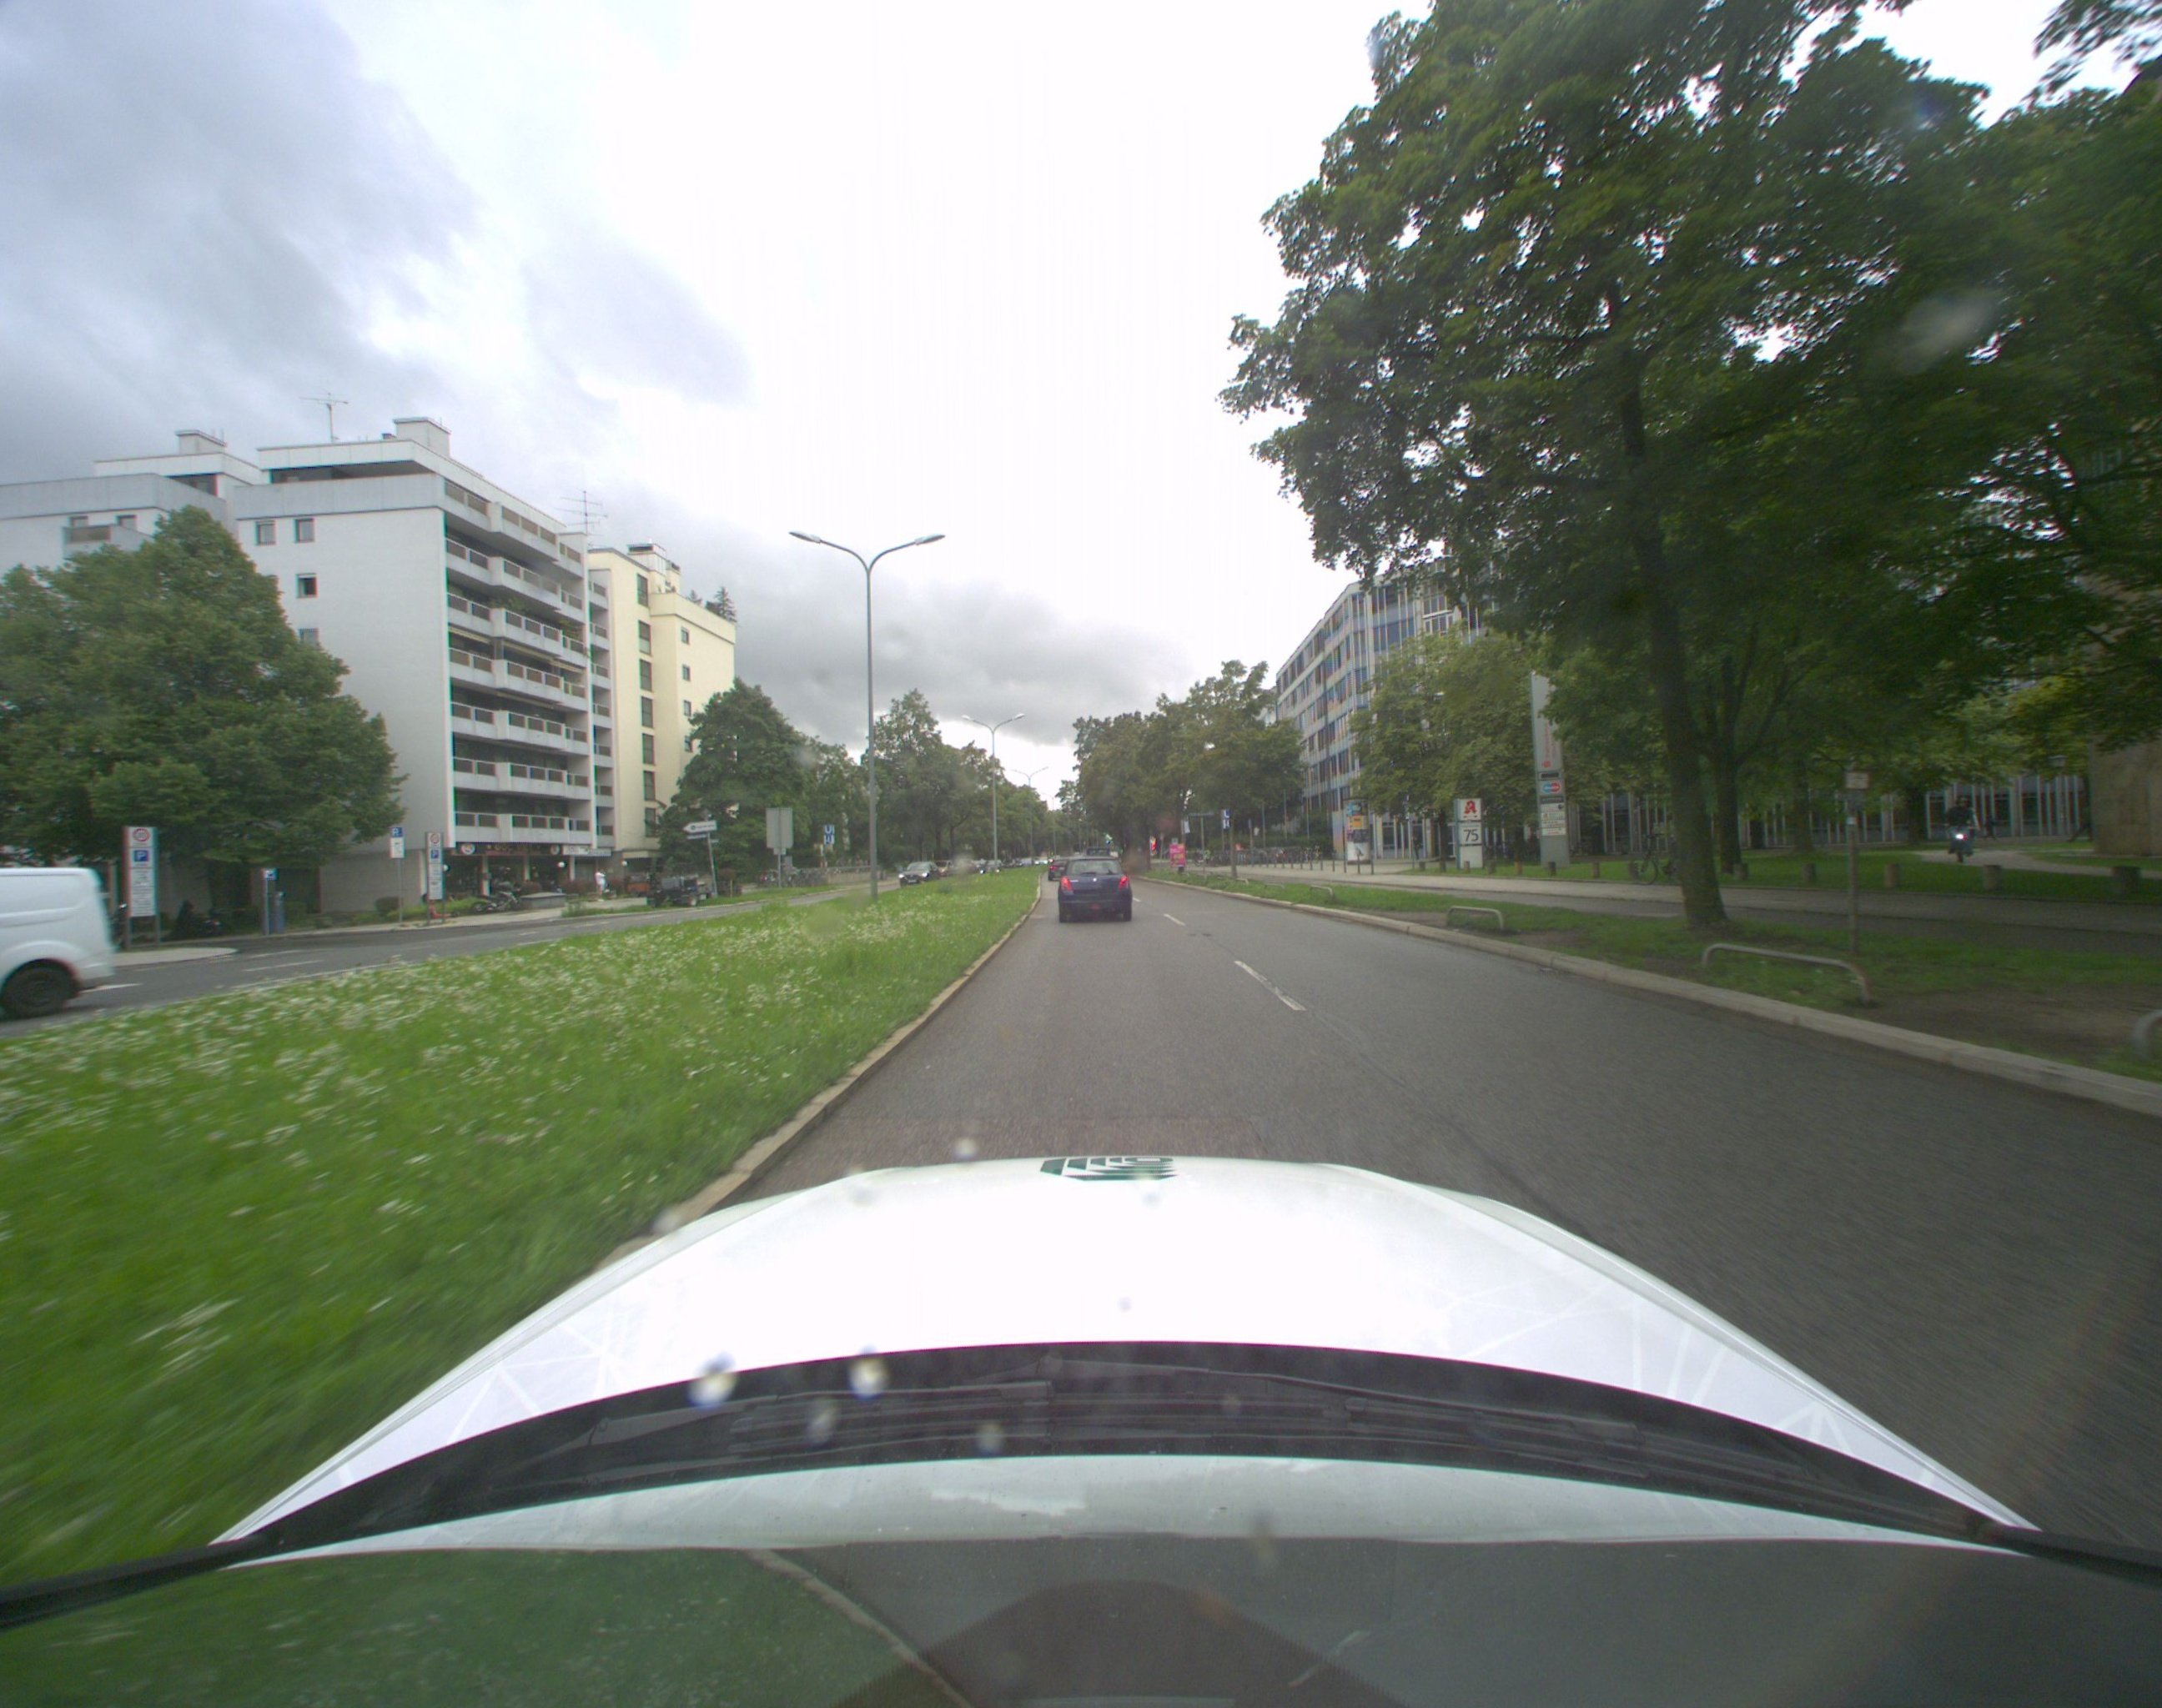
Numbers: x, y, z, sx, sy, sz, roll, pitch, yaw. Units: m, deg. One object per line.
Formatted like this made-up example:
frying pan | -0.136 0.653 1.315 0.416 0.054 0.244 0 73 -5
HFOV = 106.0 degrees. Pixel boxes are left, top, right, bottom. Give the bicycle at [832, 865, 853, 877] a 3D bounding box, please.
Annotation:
bicycle | -21.616 1.570 73.802 1.755 1.007 0.437 -3 0 2

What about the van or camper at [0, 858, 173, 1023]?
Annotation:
van or camper | -14.421 1.127 9.313 2.007 2.016 5.203 -3 0 3

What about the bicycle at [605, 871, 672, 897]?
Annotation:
bicycle | -24.156 1.630 44.483 3.310 1.283 0.789 2 0 6

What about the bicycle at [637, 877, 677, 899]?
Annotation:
bicycle | -23.527 1.859 45.164 1.938 1.103 0.561 -3 0 6

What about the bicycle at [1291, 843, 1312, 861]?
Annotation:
bicycle | 15.554 -0.144 57.448 0.576 1.189 2.136 -3 0 -7

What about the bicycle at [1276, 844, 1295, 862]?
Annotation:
bicycle | 14.351 -0.080 57.222 0.445 1.189 2.136 -3 0 -7

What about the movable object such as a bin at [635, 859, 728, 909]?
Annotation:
movable object such as a bin | -17.437 1.241 35.783 2.188 1.953 3.996 -3 0 -3

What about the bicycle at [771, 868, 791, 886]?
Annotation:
bicycle | -19.235 1.464 52.259 0.406 1.030 1.957 2 1 5

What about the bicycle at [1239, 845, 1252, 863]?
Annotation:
bicycle | 11.634 -0.011 57.698 0.486 1.189 1.954 -3 0 0

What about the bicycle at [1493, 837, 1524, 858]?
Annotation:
bicycle | 26.359 -0.402 50.211 0.508 1.260 2.170 -3 0 -7

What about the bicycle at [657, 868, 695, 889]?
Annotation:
bicycle | -23.288 1.407 46.816 1.938 1.103 0.490 2 0 6

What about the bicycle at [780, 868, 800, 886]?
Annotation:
bicycle | -18.652 1.464 52.246 0.406 1.072 1.957 2 1 5

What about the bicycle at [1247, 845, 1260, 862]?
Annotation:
bicycle | 12.213 -0.040 57.698 0.486 1.189 1.954 -3 0 0

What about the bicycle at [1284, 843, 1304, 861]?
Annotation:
bicycle | 14.911 -0.114 57.039 0.511 1.189 2.136 -3 0 -7

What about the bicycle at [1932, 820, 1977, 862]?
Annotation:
bicycle | 24.894 -0.381 23.201 1.776 1.129 0.718 -3 0 -40

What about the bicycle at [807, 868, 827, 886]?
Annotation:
bicycle | -16.909 1.480 52.206 0.406 1.089 2.088 2 1 6

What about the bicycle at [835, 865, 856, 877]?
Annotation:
bicycle | -21.791 1.580 75.308 1.755 1.007 0.437 -3 0 2

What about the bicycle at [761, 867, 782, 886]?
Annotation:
bicycle | -19.821 1.443 52.162 0.406 1.103 1.957 2 1 5

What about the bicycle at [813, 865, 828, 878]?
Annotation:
bicycle | -23.391 1.560 73.207 0.576 1.099 2.034 -3 0 4

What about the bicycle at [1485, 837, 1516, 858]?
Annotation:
bicycle | 25.793 -0.379 50.086 0.508 1.260 2.170 -3 0 -7

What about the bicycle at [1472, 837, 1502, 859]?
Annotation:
bicycle | 25.123 -0.360 50.409 0.605 1.260 2.052 -3 0 -5

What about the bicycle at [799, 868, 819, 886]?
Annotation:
bicycle | -17.436 1.476 52.184 0.406 1.078 1.957 2 1 5

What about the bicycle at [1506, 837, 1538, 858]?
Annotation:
bicycle | 27.177 -0.388 50.261 0.508 1.260 2.170 -3 0 -7

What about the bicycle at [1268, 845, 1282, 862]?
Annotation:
bicycle | 13.669 -0.057 57.479 0.444 1.189 1.954 -3 0 0

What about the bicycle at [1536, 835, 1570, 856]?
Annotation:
bicycle | 29.102 -0.497 50.238 0.552 1.260 2.170 -3 0 -7

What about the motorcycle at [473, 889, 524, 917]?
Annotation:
motorcycle | -25.508 2.138 35.699 0.414 1.086 1.795 -3 0 28

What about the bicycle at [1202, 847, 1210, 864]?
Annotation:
bicycle | 10.325 0.120 67.244 0.527 1.226 1.865 -5 1 7

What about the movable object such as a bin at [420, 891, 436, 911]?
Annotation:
movable object such as a bin | -33.091 2.378 41.284 0.372 0.965 0.536 -3 0 -4

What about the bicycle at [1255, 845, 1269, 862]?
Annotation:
bicycle | 12.818 -0.046 57.759 0.486 1.189 1.954 -3 0 0

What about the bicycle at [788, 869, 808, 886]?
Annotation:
bicycle | -18.106 1.497 52.169 0.406 1.040 1.957 2 1 5

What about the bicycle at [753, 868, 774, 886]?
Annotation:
bicycle | -20.337 1.456 52.179 0.406 1.097 1.957 2 1 5

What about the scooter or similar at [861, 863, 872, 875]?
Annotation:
scooter or similar | -21.411 1.474 81.283 0.432 1.127 1.295 -3 0 16

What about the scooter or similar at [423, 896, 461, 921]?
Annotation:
scooter or similar | -26.958 2.309 34.369 1.151 0.959 0.440 -3 0 -20

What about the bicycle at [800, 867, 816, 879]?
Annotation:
bicycle | -24.526 1.677 73.099 0.576 1.007 2.034 -3 0 4
